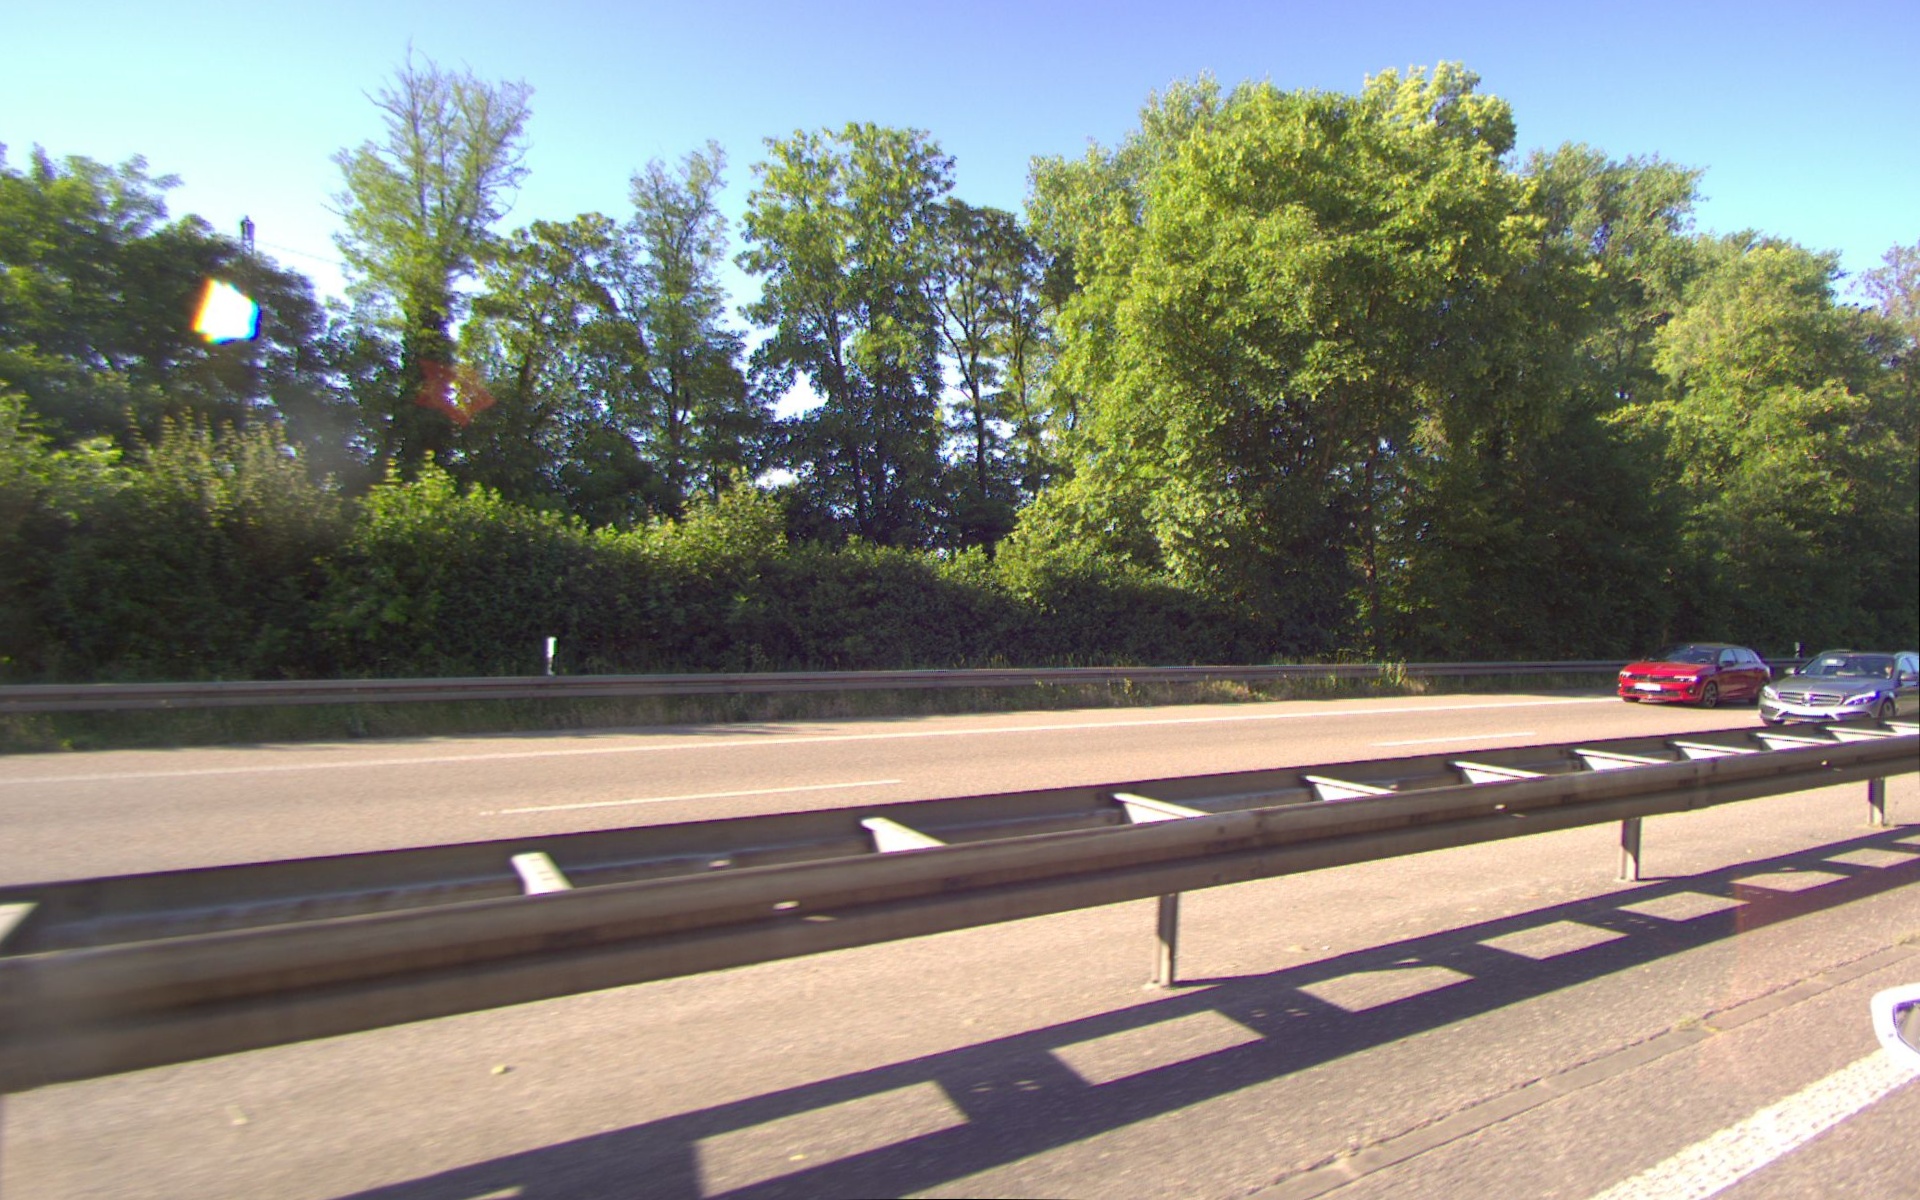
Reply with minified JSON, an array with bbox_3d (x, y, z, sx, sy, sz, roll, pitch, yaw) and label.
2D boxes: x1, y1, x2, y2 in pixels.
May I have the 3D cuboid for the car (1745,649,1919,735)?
[{"bbox_3d":[16.994,1.664,19.082,4.423,1.375,1.826,1,-1,-31],"label":"car"}]

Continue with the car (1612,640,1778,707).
[{"bbox_3d":[17.550,1.688,23.947,4.180,1.464,1.709,1,-2,-31],"label":"car"}]
